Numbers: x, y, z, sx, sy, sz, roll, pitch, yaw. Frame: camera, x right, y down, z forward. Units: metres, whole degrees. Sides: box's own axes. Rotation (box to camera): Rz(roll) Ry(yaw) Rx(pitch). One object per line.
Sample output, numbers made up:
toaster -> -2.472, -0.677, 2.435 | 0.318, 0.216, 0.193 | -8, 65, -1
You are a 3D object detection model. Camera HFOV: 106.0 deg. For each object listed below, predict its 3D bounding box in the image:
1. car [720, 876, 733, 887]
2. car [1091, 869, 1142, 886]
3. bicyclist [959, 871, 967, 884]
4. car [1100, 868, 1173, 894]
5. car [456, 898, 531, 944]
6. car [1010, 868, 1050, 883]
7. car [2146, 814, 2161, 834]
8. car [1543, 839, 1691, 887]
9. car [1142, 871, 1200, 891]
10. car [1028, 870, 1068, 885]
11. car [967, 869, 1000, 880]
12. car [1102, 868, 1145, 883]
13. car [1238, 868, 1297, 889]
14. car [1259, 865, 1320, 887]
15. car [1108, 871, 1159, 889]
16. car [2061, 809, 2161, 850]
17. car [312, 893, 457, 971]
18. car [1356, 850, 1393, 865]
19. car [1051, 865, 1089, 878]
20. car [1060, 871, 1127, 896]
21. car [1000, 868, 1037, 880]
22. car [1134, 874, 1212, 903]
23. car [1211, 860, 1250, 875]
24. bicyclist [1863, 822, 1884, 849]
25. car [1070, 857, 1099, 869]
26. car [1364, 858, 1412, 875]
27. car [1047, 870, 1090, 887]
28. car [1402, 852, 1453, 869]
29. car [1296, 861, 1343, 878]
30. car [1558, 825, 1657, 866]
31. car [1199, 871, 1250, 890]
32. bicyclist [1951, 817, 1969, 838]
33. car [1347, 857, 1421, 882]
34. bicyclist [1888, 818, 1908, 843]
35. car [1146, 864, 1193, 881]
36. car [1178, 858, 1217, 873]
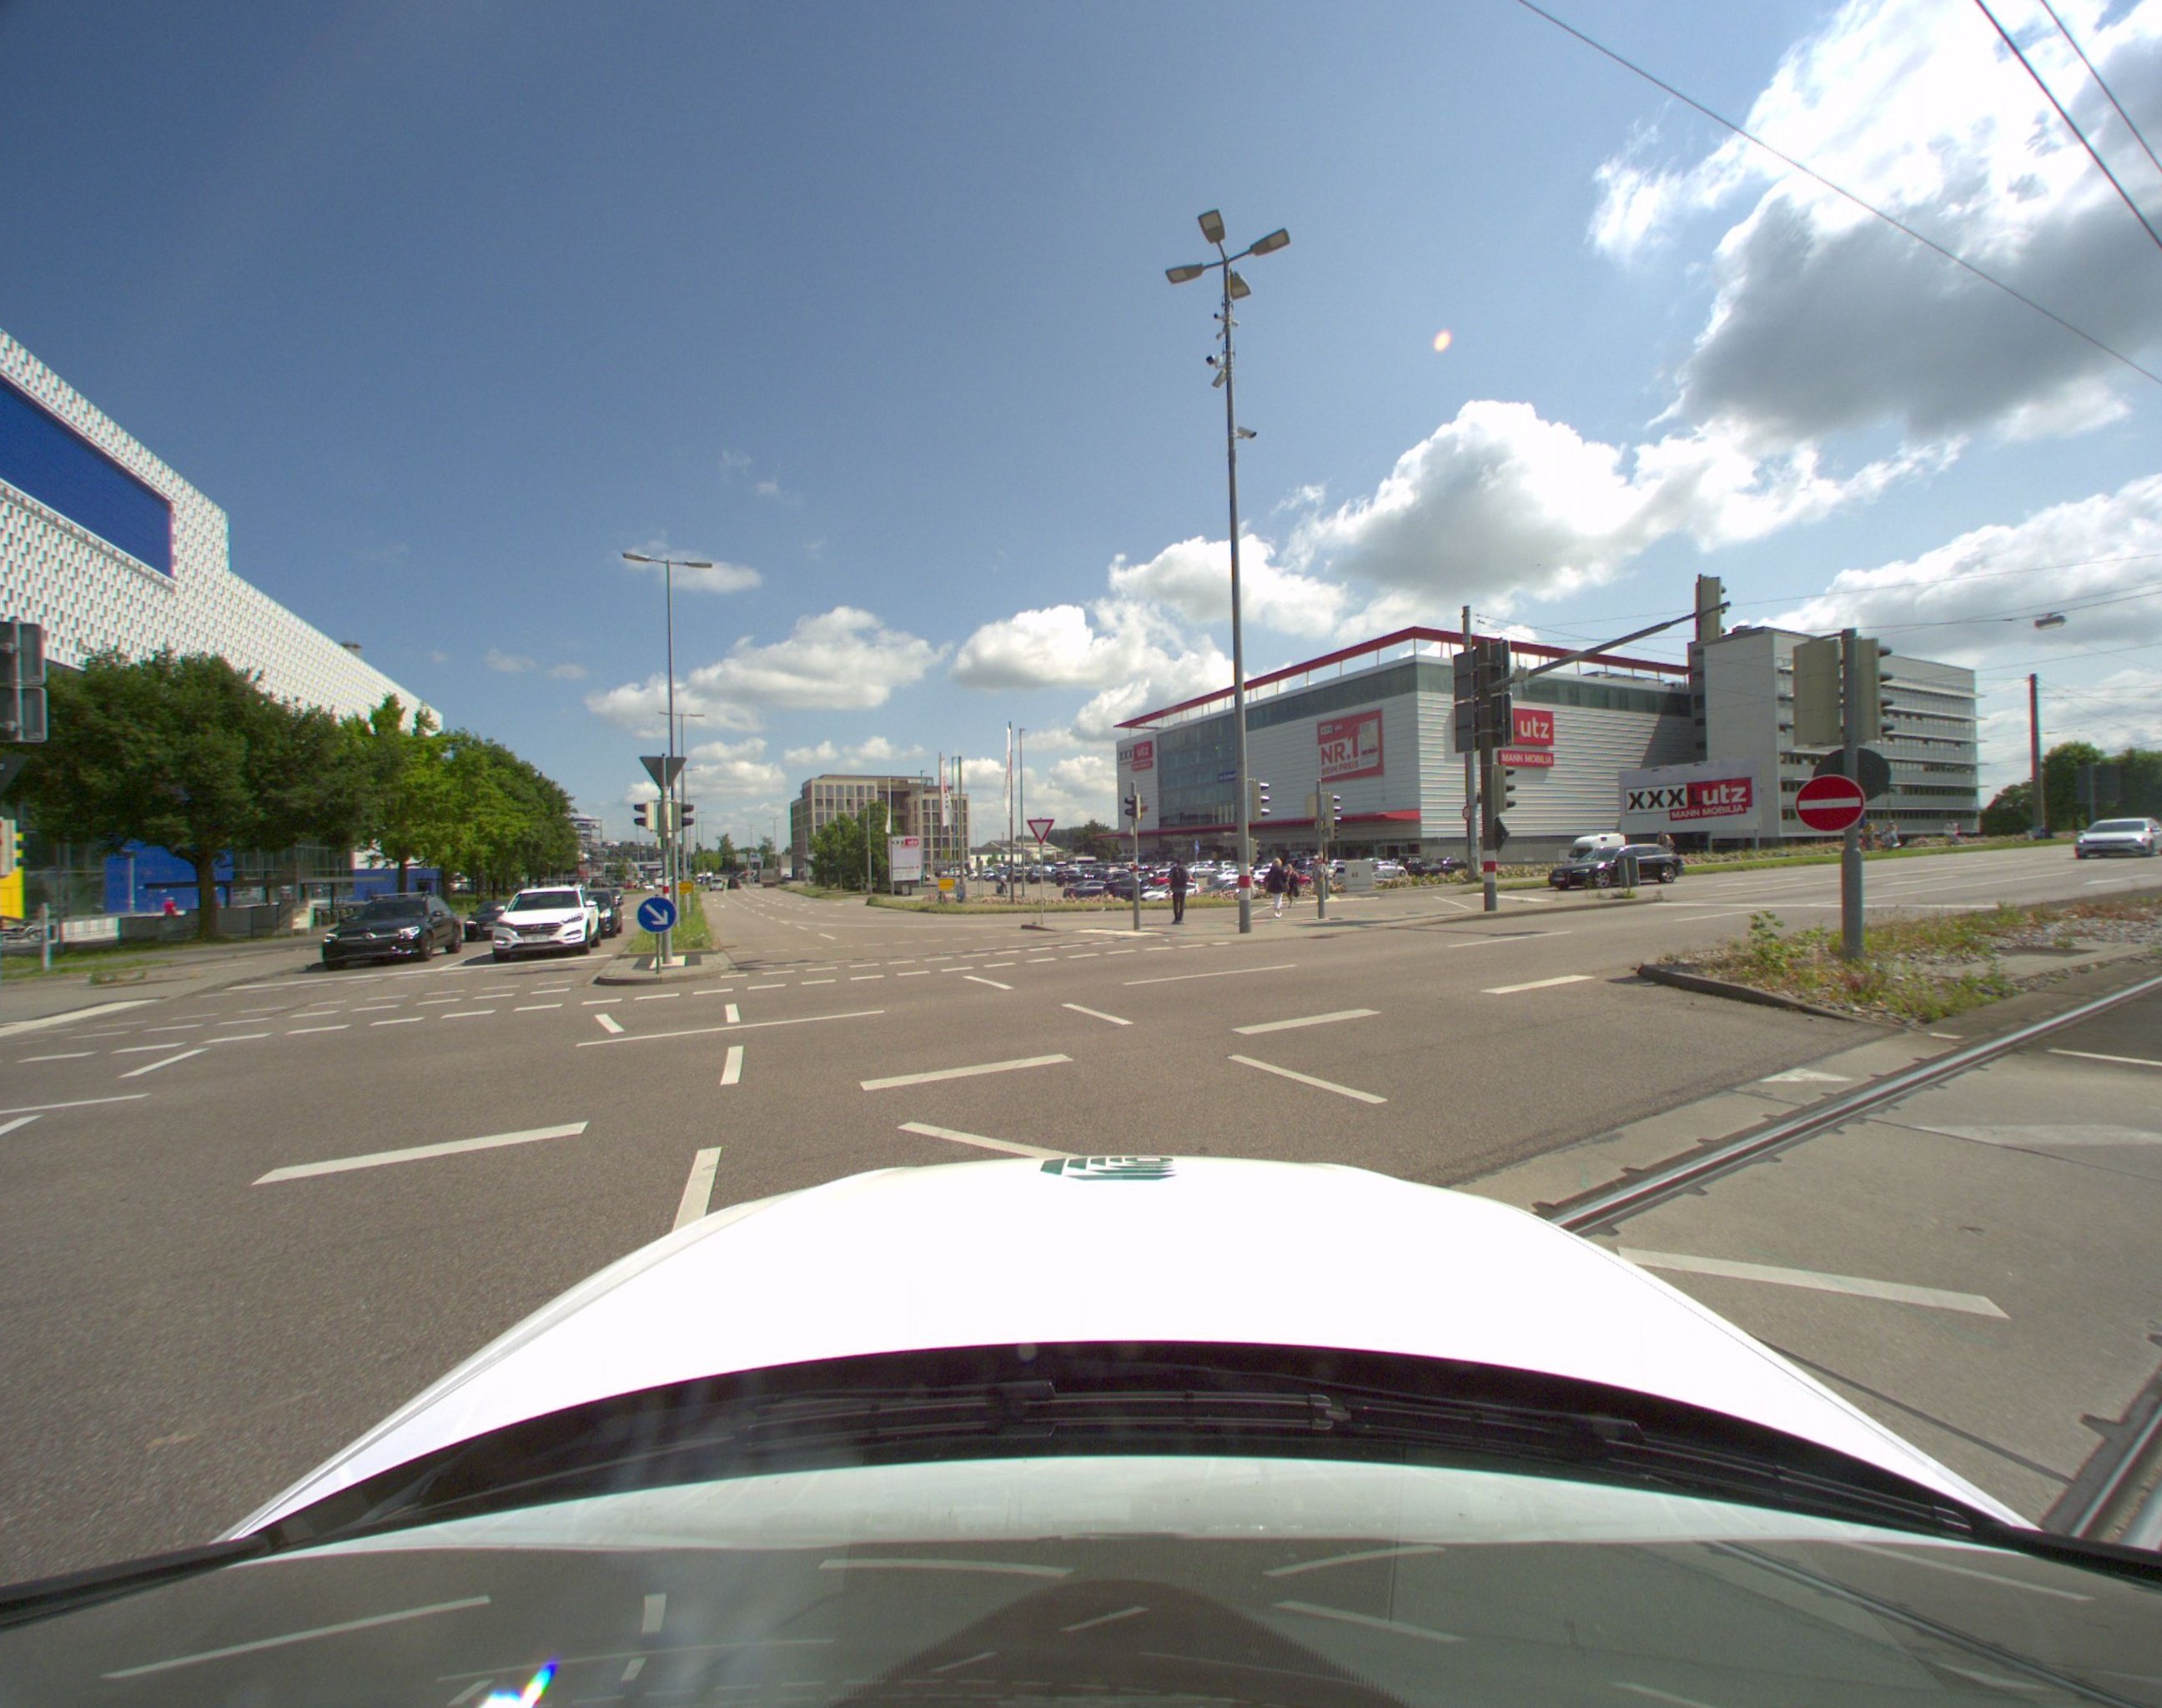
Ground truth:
car -> -61.073, 4.750, 140.177 | 1.826, 1.809, 3.972 | 0, -1, -20
car -> 3.317, 2.181, 75.541 | 4.379, 1.362, 1.832 | -2, 1, -24
bicyclist -> -12.954, 2.616, 89.388 | 0.618, 1.413, 0.709 | -1, -1, -25
car -> 3.640, 1.741, 53.134 | 4.381, 1.416, 1.841 | -2, 0, -26
car -> -21.123, 2.354, 29.418 | 1.419, 1.391, 4.061 | -3, -1, -25
car -> -6.139, 2.512, 97.722 | 4.383, 1.574, 2.012 | -2, 0, -27
car -> 77.774, -2.182, 57.847 | 4.258, 1.360, 1.733 | -1, -2, -27
car -> 19.001, 0.292, 28.968 | 4.186, 1.483, 1.911 | -2, 0, -8
car -> 7.377, 2.172, 66.942 | 4.379, 1.362, 1.832 | -2, 1, -24
car -> -3.827, 2.684, 93.474 | 4.206, 1.552, 1.749 | -2, 0, -27
car -> -13.645, 2.855, 114.138 | 4.209, 1.389, 1.875 | -2, 0, -29
car -> 4.595, 2.344, 87.479 | 4.311, 1.427, 1.744 | -1, 1, -26
car -> 14.966, 1.943, 65.266 | 4.379, 1.362, 1.832 | -2, 1, -24
car -> 16.101, 1.656, 62.891 | 4.379, 1.427, 1.832 | -2, 1, -24
car -> 4.746, 2.333, 73.691 | 4.379, 1.442, 1.614 | -2, 1, -24
car -> 39.672, -0.926, 31.212 | 4.511, 1.413, 1.994 | -1, -1, -31
car -> -17.324, 1.869, 20.478 | 1.780, 1.615, 3.965 | -3, -1, -26
car -> 32.199, 0.407, 89.389 | 3.659, 1.522, 1.666 | -2, 0, -26
car -> -1.359, 2.149, 100.004 | 4.263, 1.464, 1.745 | 0, -1, -27
car -> 0.877, 2.055, 57.851 | 4.379, 1.476, 1.842 | -2, 1, -24
car -> -7.826, 2.521, 102.014 | 4.383, 1.325, 1.749 | -2, 0, -27
car -> 5.555, 2.065, 49.211 | 4.381, 1.440, 1.781 | -2, 0, -26
car -> 17.657, 1.612, 95.905 | 4.363, 1.511, 1.691 | -2, 0, -27
bicyclist -> 45.540, -1.061, 46.807 | 0.697, 1.536, 0.616 | 0, -1, -21
car -> 0.568, 1.406, 128.037 | 4.007, 1.951, 1.983 | 0, -1, -26
car -> 27.911, 1.126, 74.107 | 4.010, 1.530, 1.902 | 0, -1, -28
car -> -1.262, 2.543, 84.010 | 4.079, 1.531, 1.726 | -2, 0, -29
car -> 29.689, 0.552, 69.809 | 4.010, 1.441, 1.902 | 0, -1, -28
car -> 21.635, 1.399, 73.719 | 4.006, 1.451, 1.655 | 0, -1, -25
car -> 44.750, -0.742, 69.200 | 7.914, 3.154, 3.098 | -2, 0, -23
car -> 12.105, 2.190, 68.682 | 4.043, 1.362, 1.590 | -2, 1, -24
bicyclist -> 56.378, -1.694, 52.237 | 0.687, 1.325, 0.589 | 0, -1, -20
car -> 20.086, 1.032, 53.962 | 4.379, 1.408, 2.033 | -2, 0, -24
bicyclist -> 48.691, -1.413, 48.535 | 0.744, 1.475, 0.646 | 0, -1, -25
car -> 8.574, 1.779, 78.637 | 4.170, 1.508, 1.810 | -2, 0, -26
car -> 13.052, 1.322, 91.160 | 4.179, 1.511, 1.690 | -2, 0, -30
